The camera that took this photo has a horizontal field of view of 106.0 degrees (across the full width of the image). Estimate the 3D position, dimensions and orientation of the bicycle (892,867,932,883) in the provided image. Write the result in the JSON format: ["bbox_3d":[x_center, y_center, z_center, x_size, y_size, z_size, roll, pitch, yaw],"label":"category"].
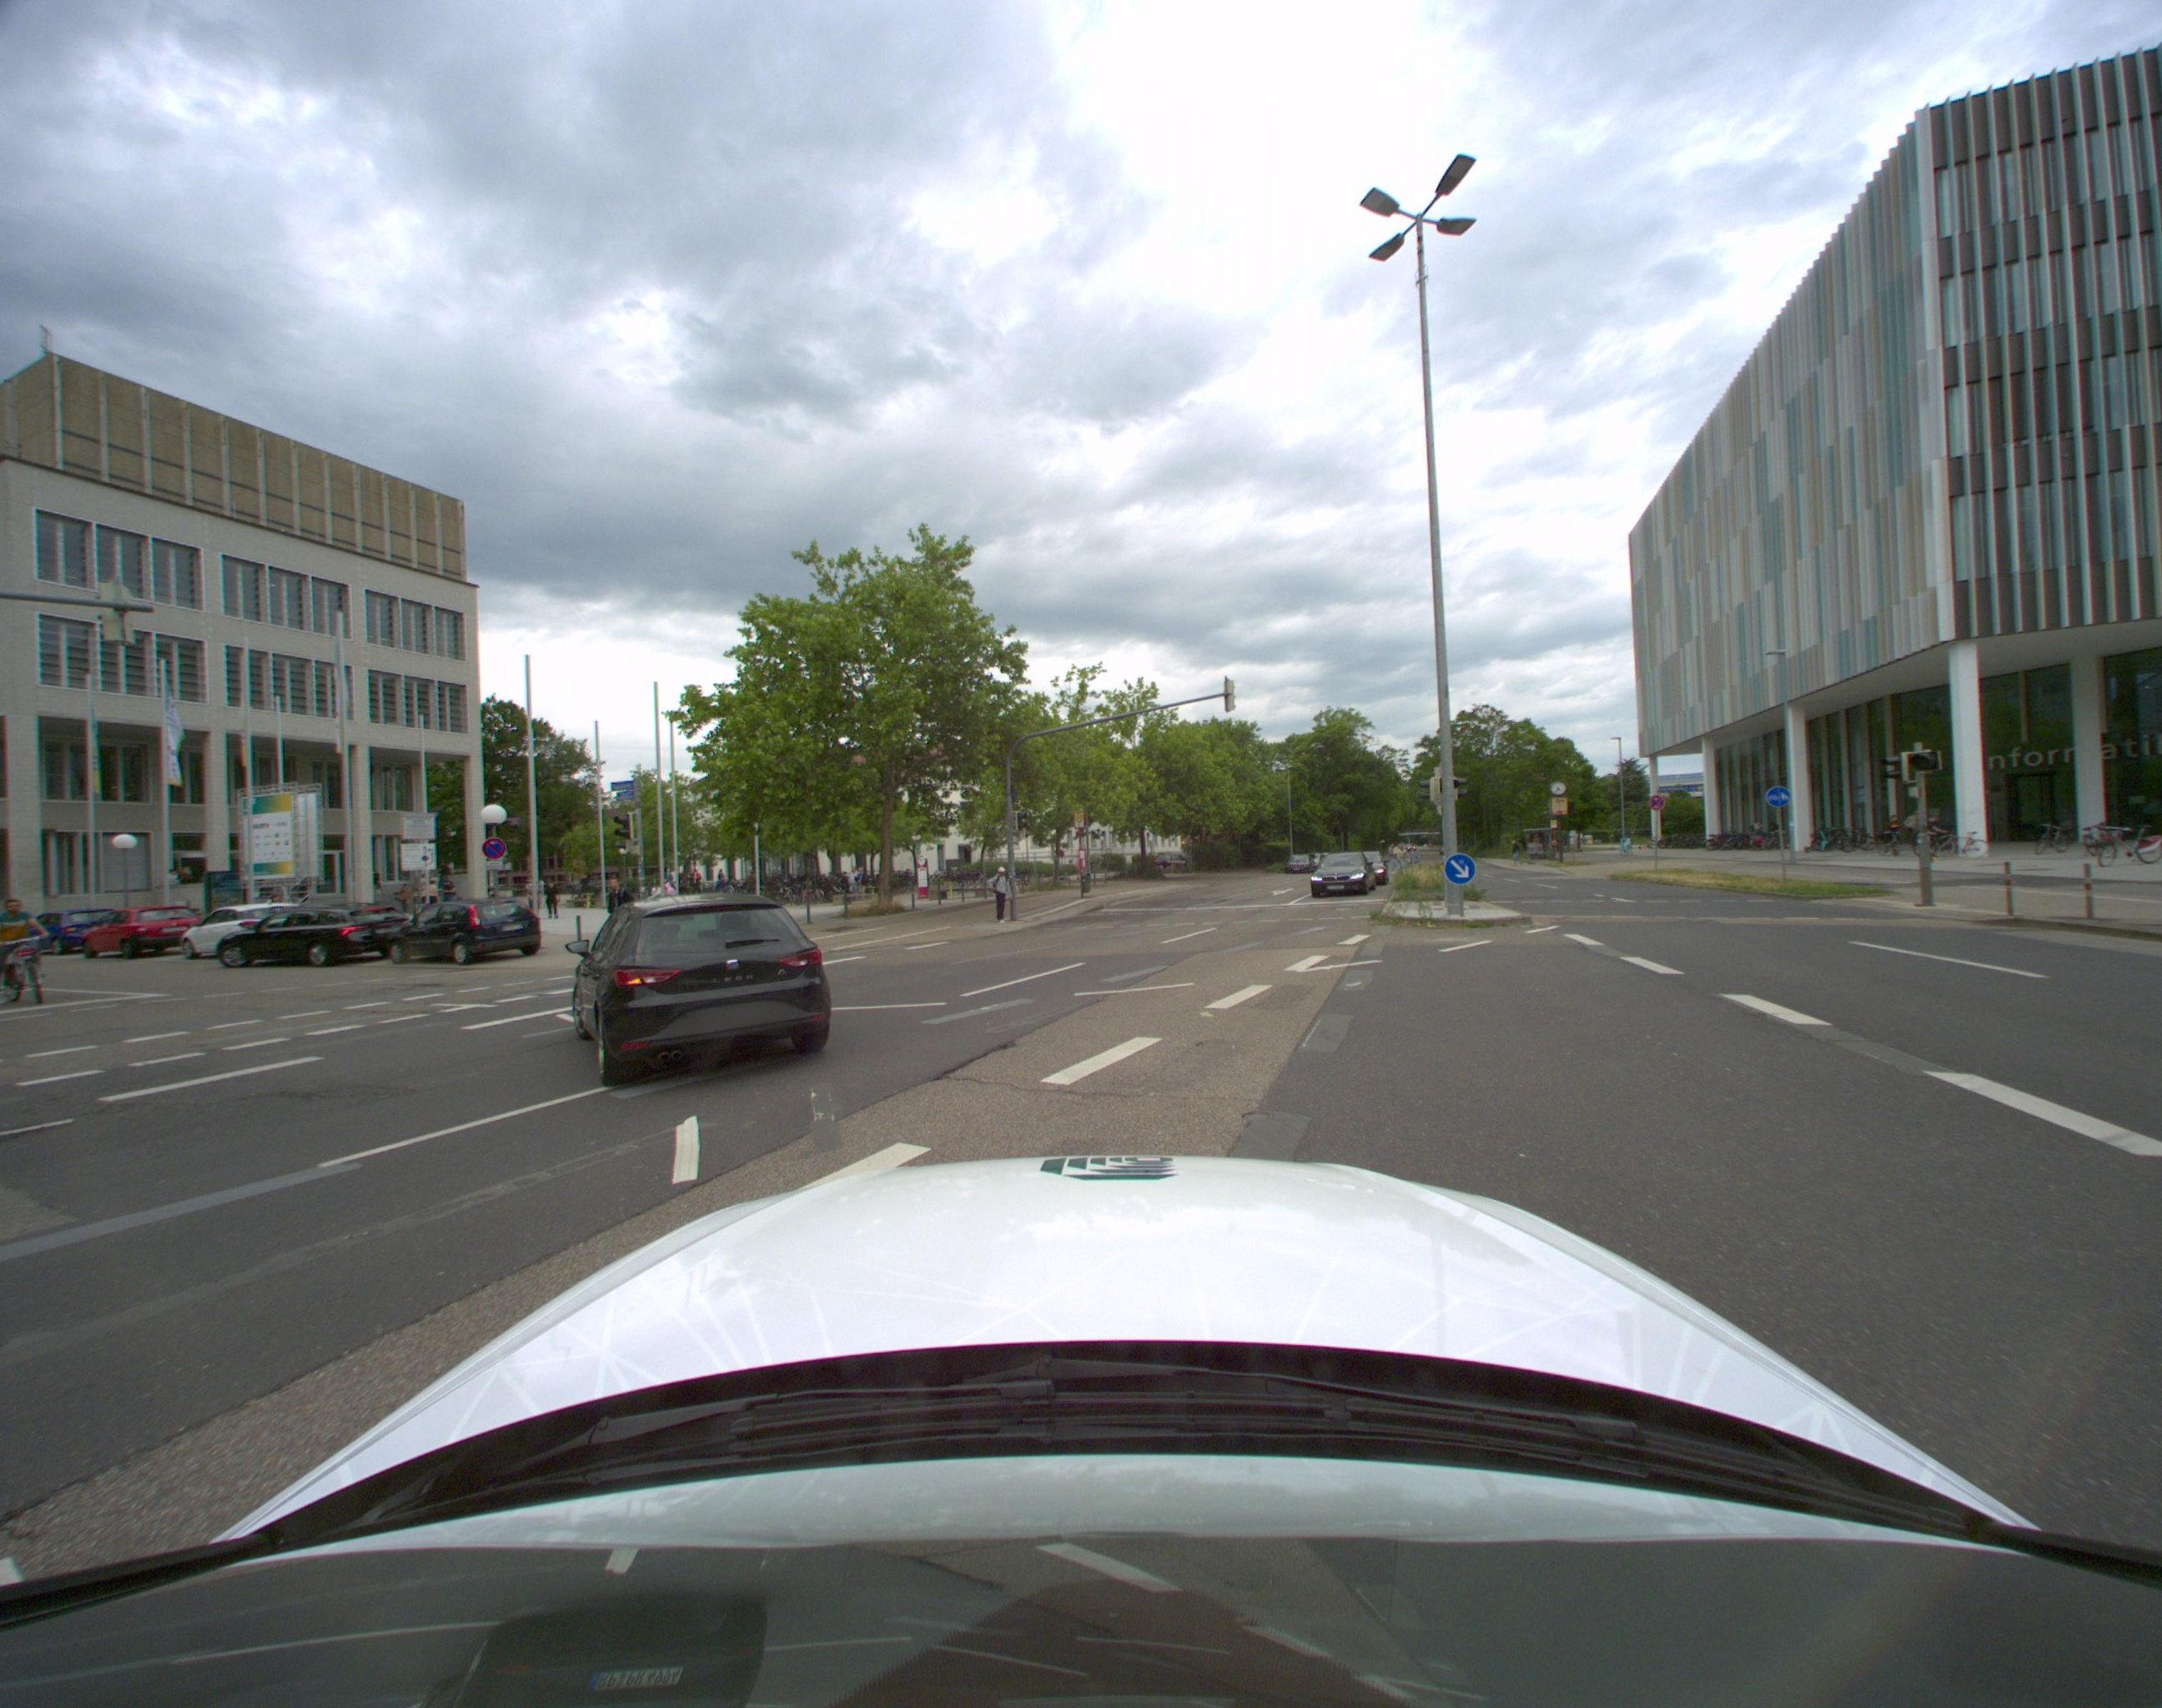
[{"bbox_3d":[-12.455,1.518,59.989,3.070,1.170,0.752,-1,-1,24],"label":"bicycle"}]

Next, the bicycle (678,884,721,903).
[{"bbox_3d":[-25.186,2.599,53.766,3.070,1.170,0.752,-1,-1,24],"label":"bicycle"}]

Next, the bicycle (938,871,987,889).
[{"bbox_3d":[-8.303,1.808,56.953,3.351,1.170,1.062,-1,-1,28],"label":"bicycle"}]

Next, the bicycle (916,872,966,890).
[{"bbox_3d":[-9.409,1.797,54.557,3.351,1.170,1.062,-1,-1,28],"label":"bicycle"}]

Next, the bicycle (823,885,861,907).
[{"bbox_3d":[-12.368,2.172,42.077,1.914,1.049,0.459,-3,0,18],"label":"bicycle"}]

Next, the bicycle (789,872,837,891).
[{"bbox_3d":[-16.474,1.692,50.072,3.070,1.170,0.752,-1,-1,24],"label":"bicycle"}]

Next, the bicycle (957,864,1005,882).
[{"bbox_3d":[-7.258,1.398,58.947,3.351,1.170,1.062,-3,-1,28],"label":"bicycle"}]

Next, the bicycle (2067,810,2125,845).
[{"bbox_3d":[34.124,-0.905,27.377,1.915,1.045,0.481,-4,-1,-17],"label":"bicycle"}]

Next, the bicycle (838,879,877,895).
[{"bbox_3d":[-17.083,2.508,62.160,3.070,1.170,0.752,-1,-1,23],"label":"bicycle"}]

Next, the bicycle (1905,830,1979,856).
[{"bbox_3d":[34.086,-0.425,32.272,1.891,0.926,0.609,-4,-1,39],"label":"bicycle"}]

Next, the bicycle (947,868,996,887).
[{"bbox_3d":[-7.793,1.665,57.944,3.351,1.170,1.062,-4,-1,28],"label":"bicycle"}]

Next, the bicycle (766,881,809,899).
[{"bbox_3d":[-20.237,2.482,56.072,3.070,1.170,0.752,-1,-1,23],"label":"bicycle"}]

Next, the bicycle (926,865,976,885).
[{"bbox_3d":[-8.896,1.456,55.813,3.351,1.170,1.062,-3,-1,28],"label":"bicycle"}]

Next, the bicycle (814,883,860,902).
[{"bbox_3d":[-15.640,2.474,52.234,3.070,1.170,0.752,-1,-1,24],"label":"bicycle"}]

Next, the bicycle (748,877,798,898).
[{"bbox_3d":[-17.745,1.913,46.913,3.070,1.170,0.752,-1,-1,24],"label":"bicycle"}]

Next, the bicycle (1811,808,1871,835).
[{"bbox_3d":[37.751,-1.600,40.494,2.078,1.259,0.632,-1,-1,27],"label":"bicycle"}]

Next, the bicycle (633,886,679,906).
[{"bbox_3d":[-26.361,2.614,50.509,3.070,1.170,0.752,-1,-1,24],"label":"bicycle"}]

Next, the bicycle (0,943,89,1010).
[{"bbox_3d":[-18.412,2.135,14.212,1.837,1.037,0.662,-3,0,15],"label":"bicycle"}]

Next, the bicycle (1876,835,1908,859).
[{"bbox_3d":[34.105,-0.302,34.279,0.611,0.926,1.929,-3,-1,35],"label":"bicycle"}]

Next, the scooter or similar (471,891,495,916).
[{"bbox_3d":[-35.003,2.884,47.693,0.403,1.369,1.489,0,-1,-4],"label":"scooter or similar"}]

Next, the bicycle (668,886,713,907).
[{"bbox_3d":[-23.348,2.544,48.683,3.070,1.170,0.625,-1,-1,24],"label":"bicycle"}]

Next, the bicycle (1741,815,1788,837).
[{"bbox_3d":[41.523,-1.699,49.484,2.079,1.259,0.632,-1,-1,21],"label":"bicycle"}]

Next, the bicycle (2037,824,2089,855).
[{"bbox_3d":[35.984,-0.530,29.833,1.915,1.045,0.481,-3,-1,-17],"label":"bicycle"}]

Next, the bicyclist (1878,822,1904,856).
[{"bbox_3d":[34.092,-0.647,34.288,0.611,1.382,0.723,-3,-1,35],"label":"bicyclist"}]

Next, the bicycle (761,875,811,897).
[{"bbox_3d":[-17.389,1.908,48.033,3.069,1.170,0.752,-3,-1,24],"label":"bicycle"}]

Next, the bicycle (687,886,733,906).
[{"bbox_3d":[-22.809,2.551,50.051,3.070,1.170,0.752,-1,-1,24],"label":"bicycle"}]

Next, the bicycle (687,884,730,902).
[{"bbox_3d":[-24.965,2.604,54.560,3.070,1.170,0.752,-1,-1,24],"label":"bicycle"}]

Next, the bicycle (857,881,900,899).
[{"bbox_3d":[-14.017,2.494,56.239,3.070,1.170,0.752,-1,-1,24],"label":"bicycle"}]

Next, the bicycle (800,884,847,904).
[{"bbox_3d":[-16.195,2.512,51.193,3.070,1.170,0.752,-1,-1,24],"label":"bicycle"}]

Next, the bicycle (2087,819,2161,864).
[{"bbox_3d":[27.702,-0.329,21.518,1.776,1.045,0.483,-4,-1,-7],"label":"bicycle"}]

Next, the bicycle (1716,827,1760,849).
[{"bbox_3d":[42.418,-1.038,52.599,2.079,1.259,0.632,-3,-1,21],"label":"bicycle"}]

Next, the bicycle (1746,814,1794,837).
[{"bbox_3d":[41.315,-1.702,48.847,2.079,1.259,0.632,-1,-1,21],"label":"bicycle"}]

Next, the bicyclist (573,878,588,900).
[{"bbox_3d":[-38.719,2.692,63.001,0.879,1.641,0.859,-2,-1,-33],"label":"bicyclist"}]

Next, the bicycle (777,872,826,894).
[{"bbox_3d":[-16.862,1.749,49.110,3.069,1.170,0.752,-3,-1,24],"label":"bicycle"}]

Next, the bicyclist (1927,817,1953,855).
[{"bbox_3d":[34.072,-0.720,32.317,0.597,1.469,0.487,-3,-1,40],"label":"bicyclist"}]

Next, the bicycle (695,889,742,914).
[{"bbox_3d":[-17.924,2.351,40.260,2.387,1.170,0.459,-1,-1,18],"label":"bicycle"}]

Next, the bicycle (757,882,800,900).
[{"bbox_3d":[-20.568,2.478,55.361,3.070,1.170,0.752,-1,-1,23],"label":"bicycle"}]

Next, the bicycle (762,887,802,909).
[{"bbox_3d":[-15.531,2.304,42.345,1.918,1.049,0.458,-3,0,8],"label":"bicycle"}]

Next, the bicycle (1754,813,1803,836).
[{"bbox_3d":[41.026,-1.708,47.926,2.078,1.259,0.632,-1,-1,27],"label":"bicycle"}]

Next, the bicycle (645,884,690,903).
[{"bbox_3d":[-26.032,2.472,51.234,3.070,1.170,0.752,-1,-1,24],"label":"bicycle"}]

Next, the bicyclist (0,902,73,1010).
[{"bbox_3d":[-18.436,1.767,14.219,0.973,1.779,0.662,-3,0,15],"label":"bicyclist"}]
